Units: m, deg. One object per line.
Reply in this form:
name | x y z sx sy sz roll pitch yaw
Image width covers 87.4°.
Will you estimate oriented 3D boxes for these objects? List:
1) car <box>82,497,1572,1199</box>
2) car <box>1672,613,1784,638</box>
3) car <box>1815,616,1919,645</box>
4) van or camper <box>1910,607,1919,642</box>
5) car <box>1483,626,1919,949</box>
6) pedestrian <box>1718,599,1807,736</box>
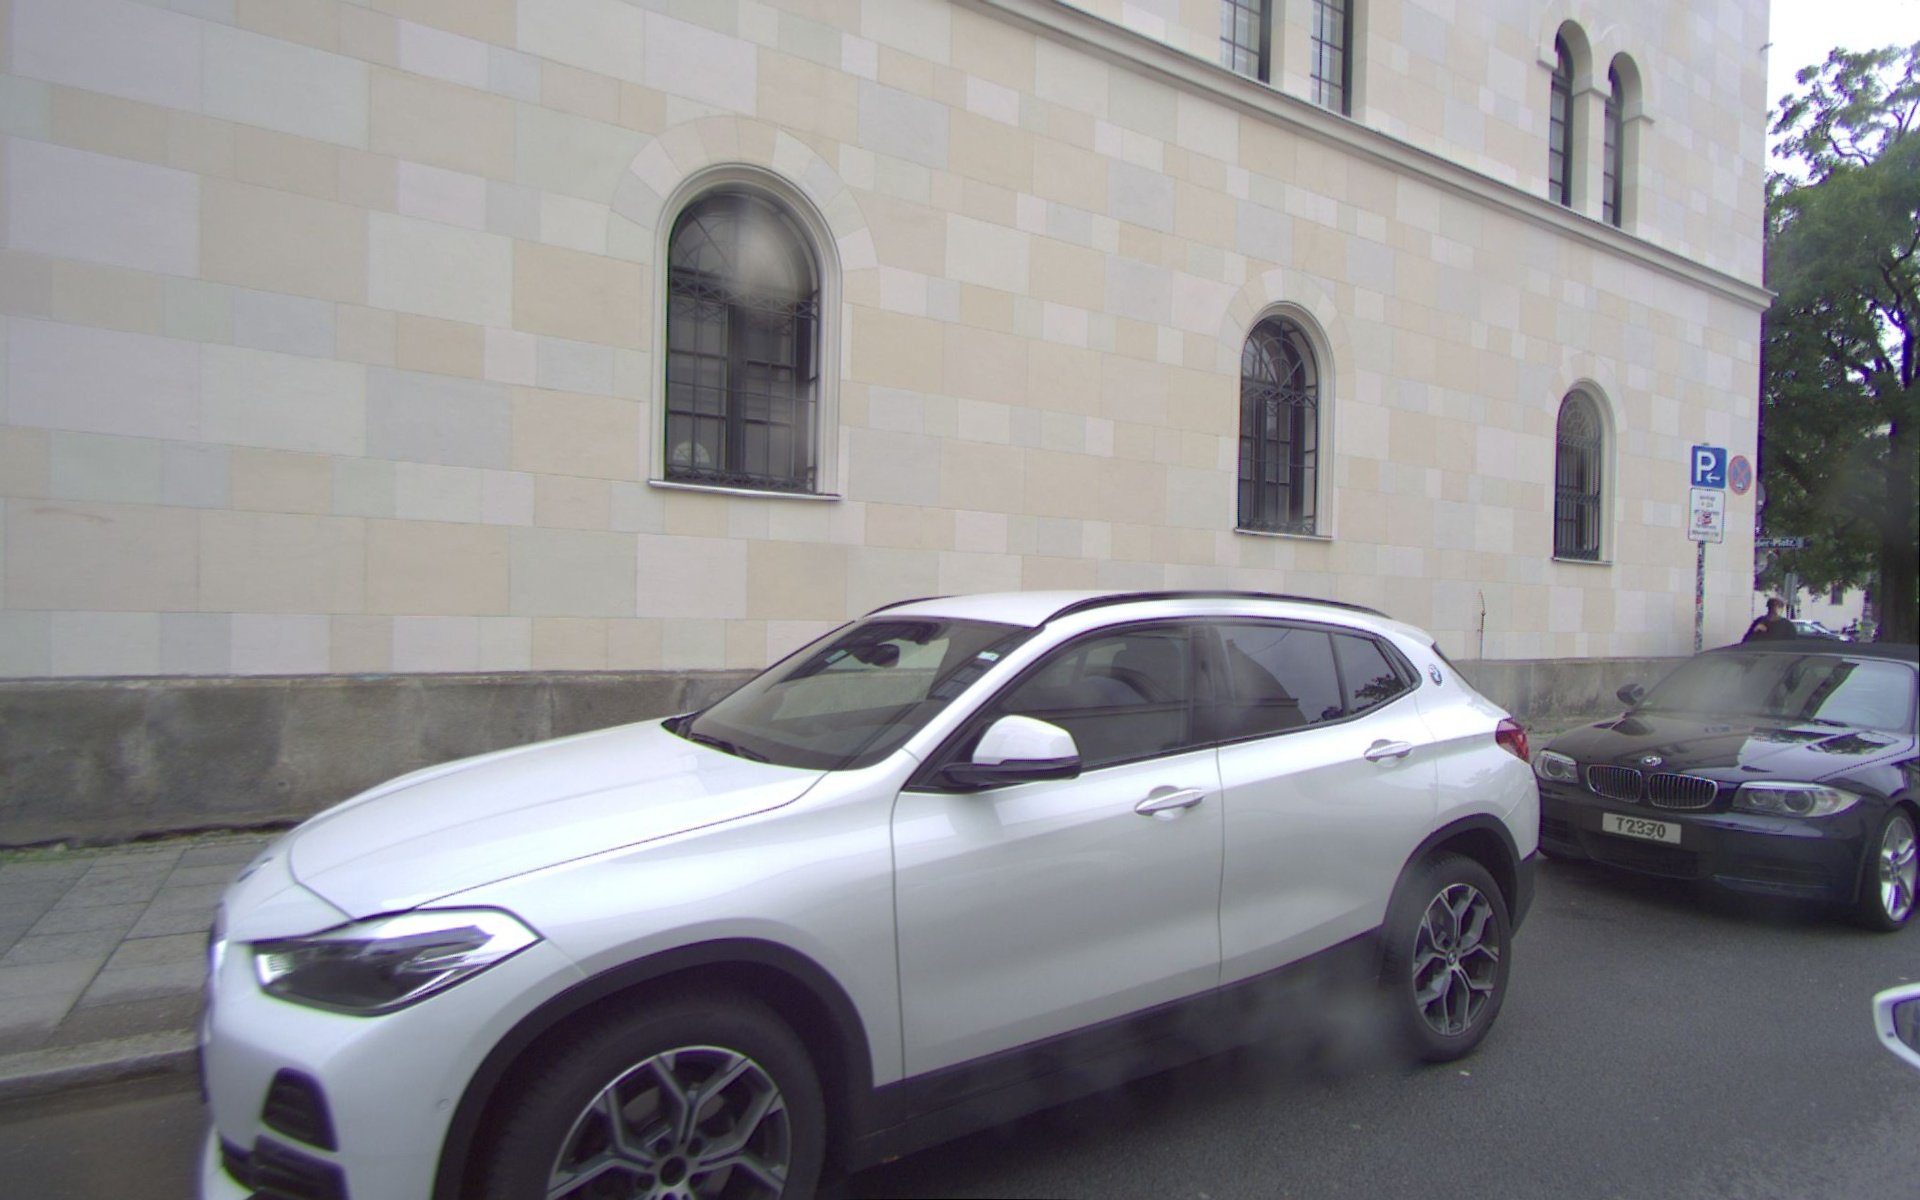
car | 0.029 0.702 3.338 4.165 1.555 1.769 2 -2 -32
car | 45.658 1.487 59.794 1.977 1.394 4.942 1 0 -31
car | 49.397 1.611 53.886 1.977 1.394 5.046 1 0 -31
van or camper | 58.804 1.427 58.573 1.979 2.040 4.554 2 -3 -32
car | 5.276 0.903 6.232 4.163 1.411 1.690 2 -2 -31
pedestrian | 10.776 0.879 13.495 0.682 1.772 0.750 1 0 -32
